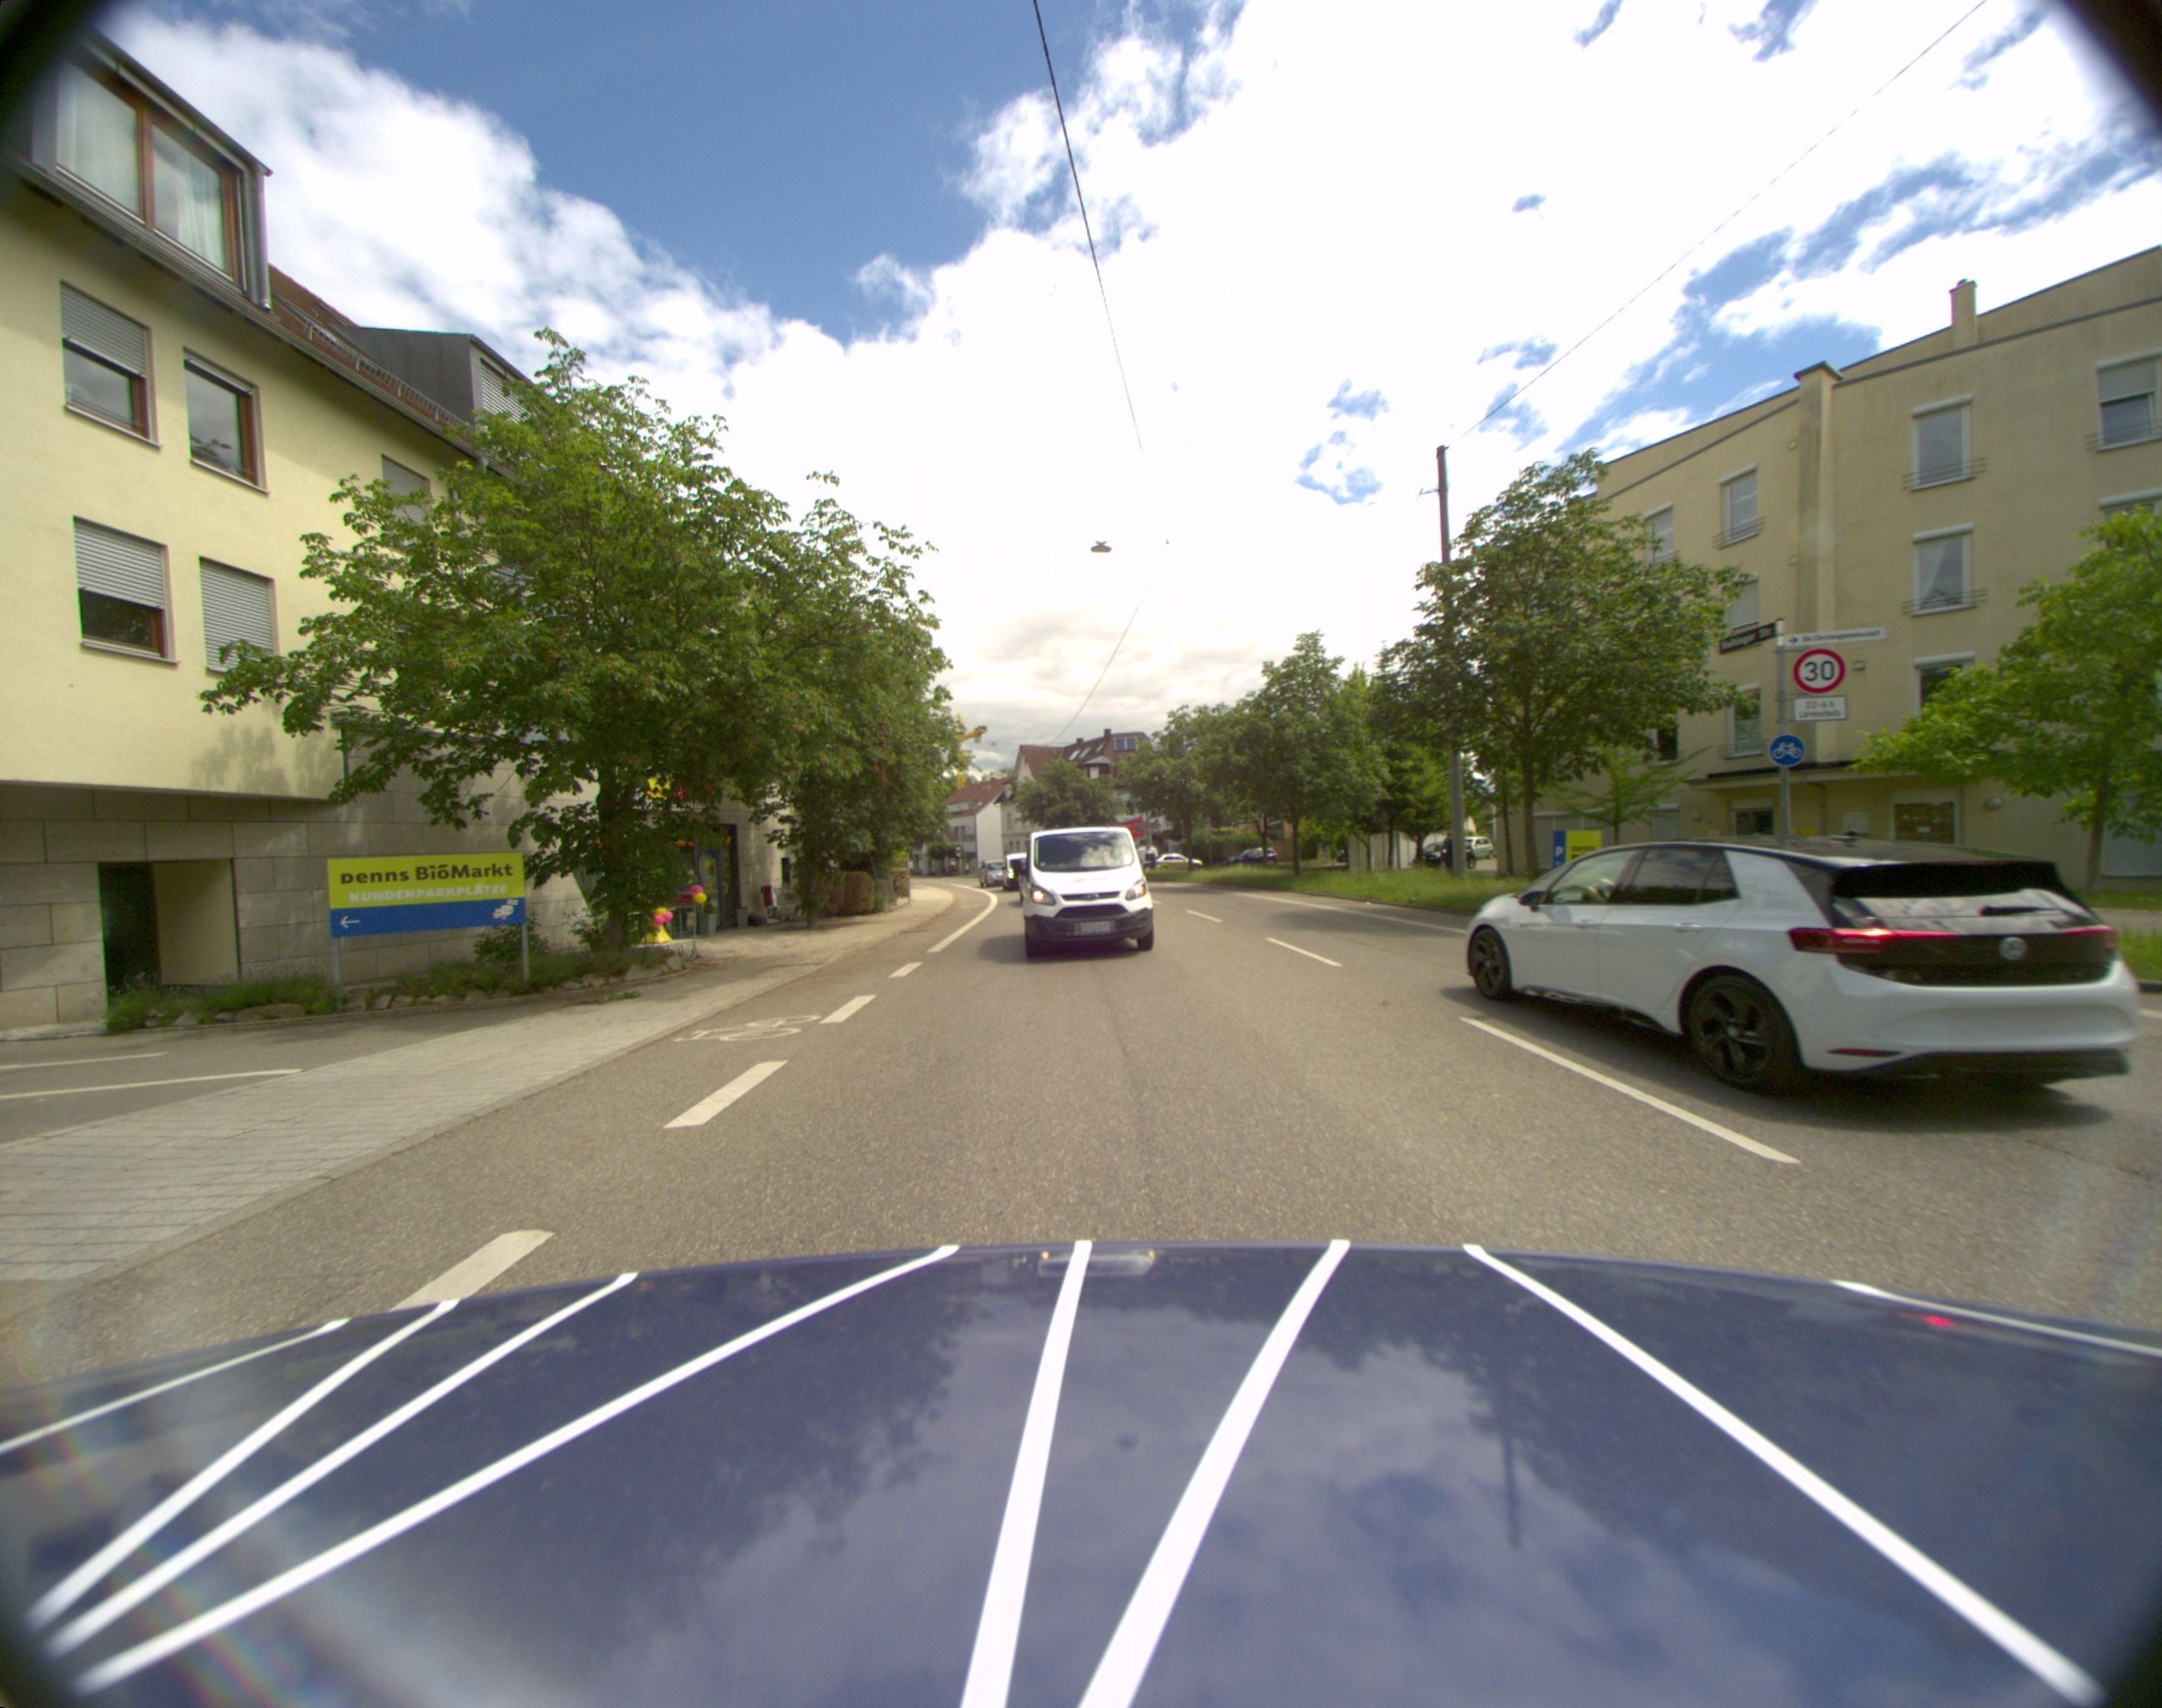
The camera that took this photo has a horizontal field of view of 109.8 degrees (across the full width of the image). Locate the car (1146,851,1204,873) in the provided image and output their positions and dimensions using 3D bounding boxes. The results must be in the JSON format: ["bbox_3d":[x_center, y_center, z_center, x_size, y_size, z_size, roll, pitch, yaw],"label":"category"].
[{"bbox_3d":[7.148,0.591,58.097,4.047,1.314,1.534,-5,1,-17],"label":"car"}]

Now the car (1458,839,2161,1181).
[{"bbox_3d":[4.745,0.703,5.609,1.904,1.571,3.999,-2,1,0],"label":"car"}]

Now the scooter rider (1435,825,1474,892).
[{"bbox_3d":[11.558,0.139,23.534,0.678,2.002,0.794,-5,2,-4],"label":"scooter rider"}]

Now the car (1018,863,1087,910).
[{"bbox_3d":[-1.049,1.047,25.935,1.841,1.382,3.997,-3,0,-9],"label":"car"}]

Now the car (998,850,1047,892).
[{"bbox_3d":[-2.948,0.789,37.727,1.853,1.805,3.996,-5,1,-10],"label":"car"}]

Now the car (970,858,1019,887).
[{"bbox_3d":[-5.156,1.055,44.944,1.696,1.477,3.993,-5,1,-23],"label":"car"}]

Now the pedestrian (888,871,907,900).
[{"bbox_3d":[-8.645,1.481,35.823,0.731,1.293,0.753,-3,1,-4],"label":"pedestrian"}]

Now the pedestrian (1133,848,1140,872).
[{"bbox_3d":[4.684,0.479,64.328,0.383,1.979,0.443,-5,2,1],"label":"pedestrian"}]

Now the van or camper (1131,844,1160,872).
[{"bbox_3d":[5.218,0.283,62.154,1.794,2.077,3.809,-5,1,-2],"label":"van or camper"}]

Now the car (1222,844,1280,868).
[{"bbox_3d":[13.133,0.126,58.761,3.978,1.672,1.716,-3,1,-8],"label":"car"}]

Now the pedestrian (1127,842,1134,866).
[{"bbox_3d":[4.157,0.000,64.268,0.425,2.002,0.363,-5,2,-1],"label":"pedestrian"}]

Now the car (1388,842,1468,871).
[{"bbox_3d":[17.660,0.121,38.647,4.007,1.411,1.789,-1,-1,-33],"label":"car"}]

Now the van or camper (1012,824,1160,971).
[{"bbox_3d":[-0.097,0.612,13.318,2.028,2.002,5.100,-2,0,-4],"label":"van or camper"}]
